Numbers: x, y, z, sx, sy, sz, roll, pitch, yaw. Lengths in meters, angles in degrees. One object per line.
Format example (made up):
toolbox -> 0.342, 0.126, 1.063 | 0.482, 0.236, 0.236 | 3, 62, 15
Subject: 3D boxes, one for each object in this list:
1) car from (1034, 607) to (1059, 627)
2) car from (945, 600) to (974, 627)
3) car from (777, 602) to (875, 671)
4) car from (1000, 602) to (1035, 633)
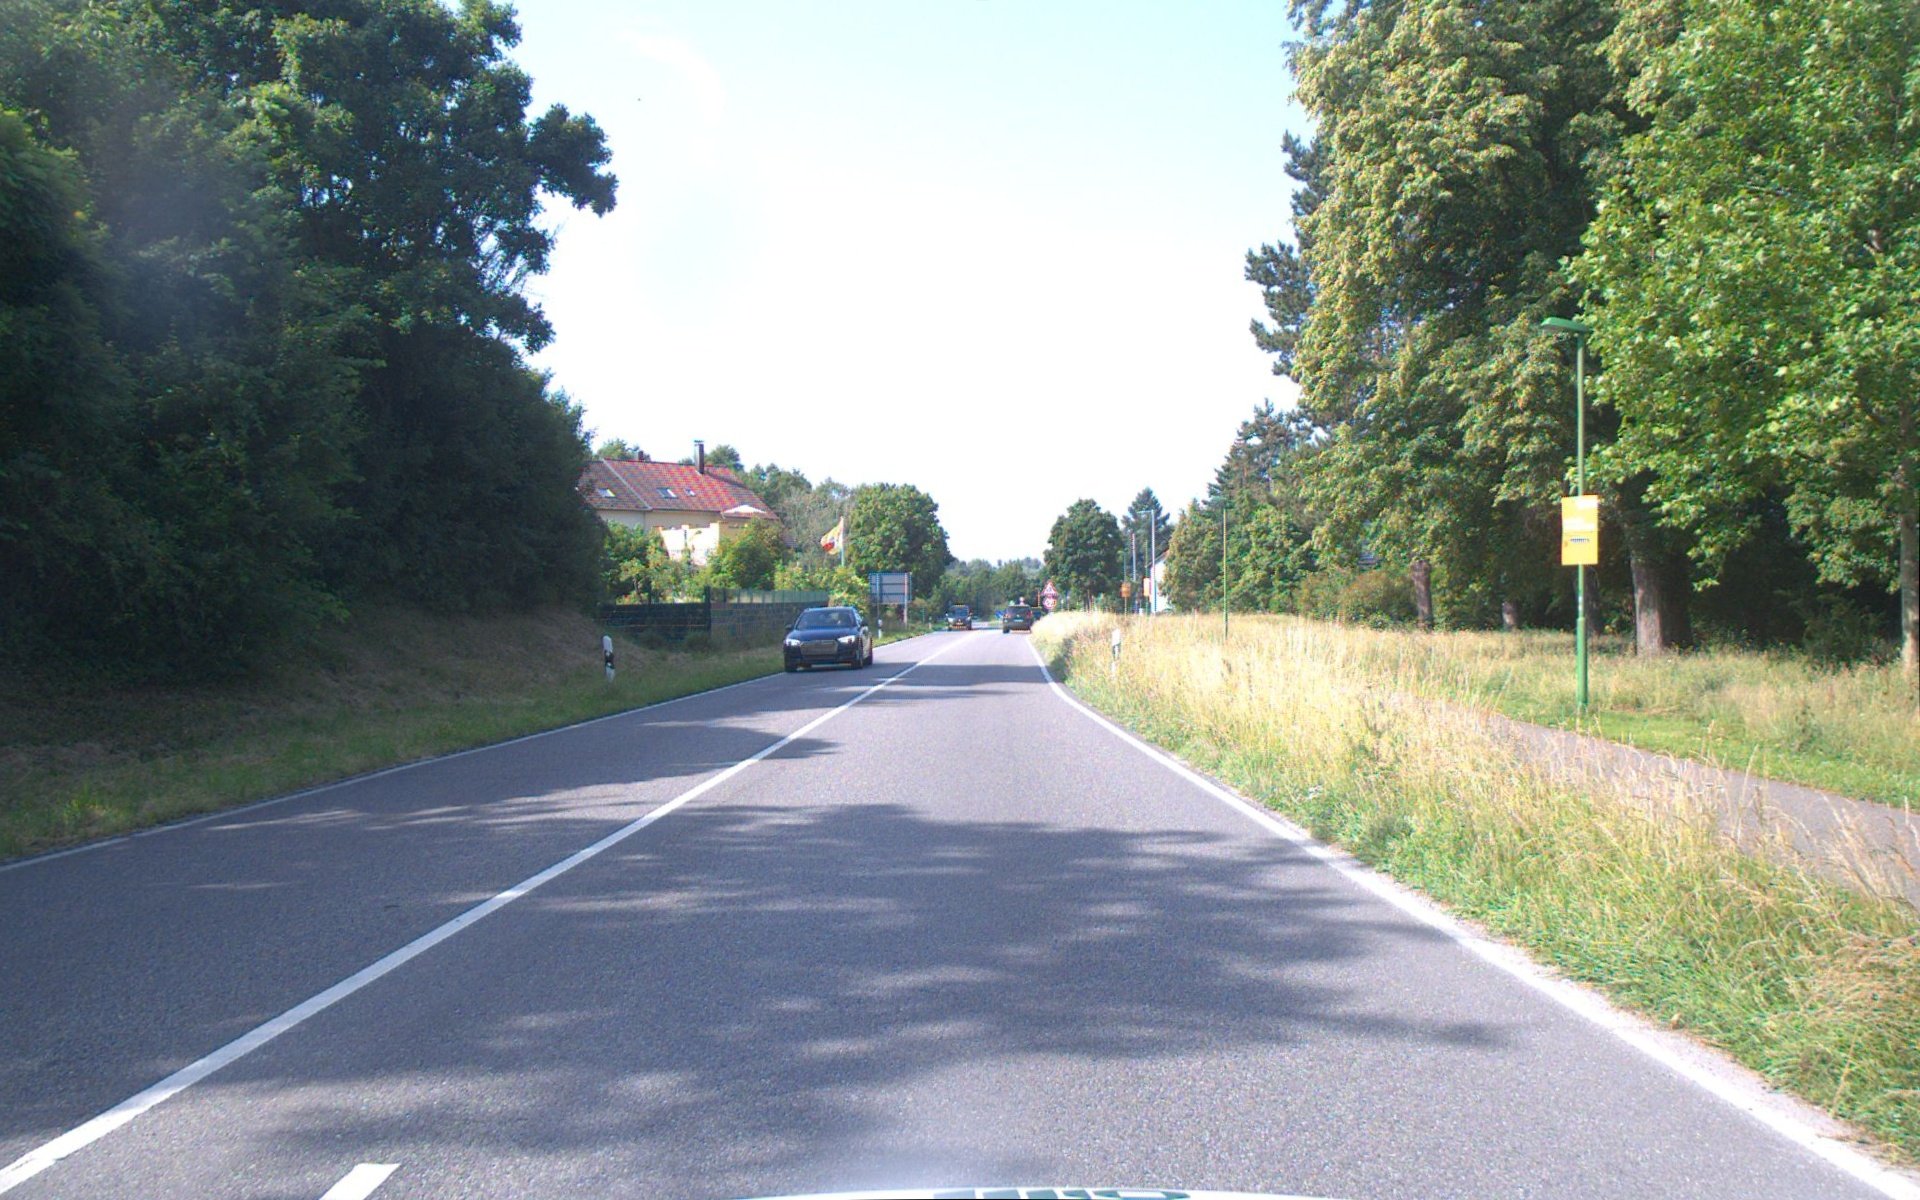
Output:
car -> 6.803, 1.339, 130.552 | 1.700, 1.542, 3.914 | -1, 0, 0
car -> -0.042, 0.994, 119.655 | 1.899, 1.849, 4.242 | -2, 0, 1
car -> -3.120, 0.829, 39.324 | 1.832, 1.448, 4.577 | -3, 0, 1
car -> 3.442, 1.009, 99.481 | 1.886, 1.802, 3.999 | -1, 0, -1
